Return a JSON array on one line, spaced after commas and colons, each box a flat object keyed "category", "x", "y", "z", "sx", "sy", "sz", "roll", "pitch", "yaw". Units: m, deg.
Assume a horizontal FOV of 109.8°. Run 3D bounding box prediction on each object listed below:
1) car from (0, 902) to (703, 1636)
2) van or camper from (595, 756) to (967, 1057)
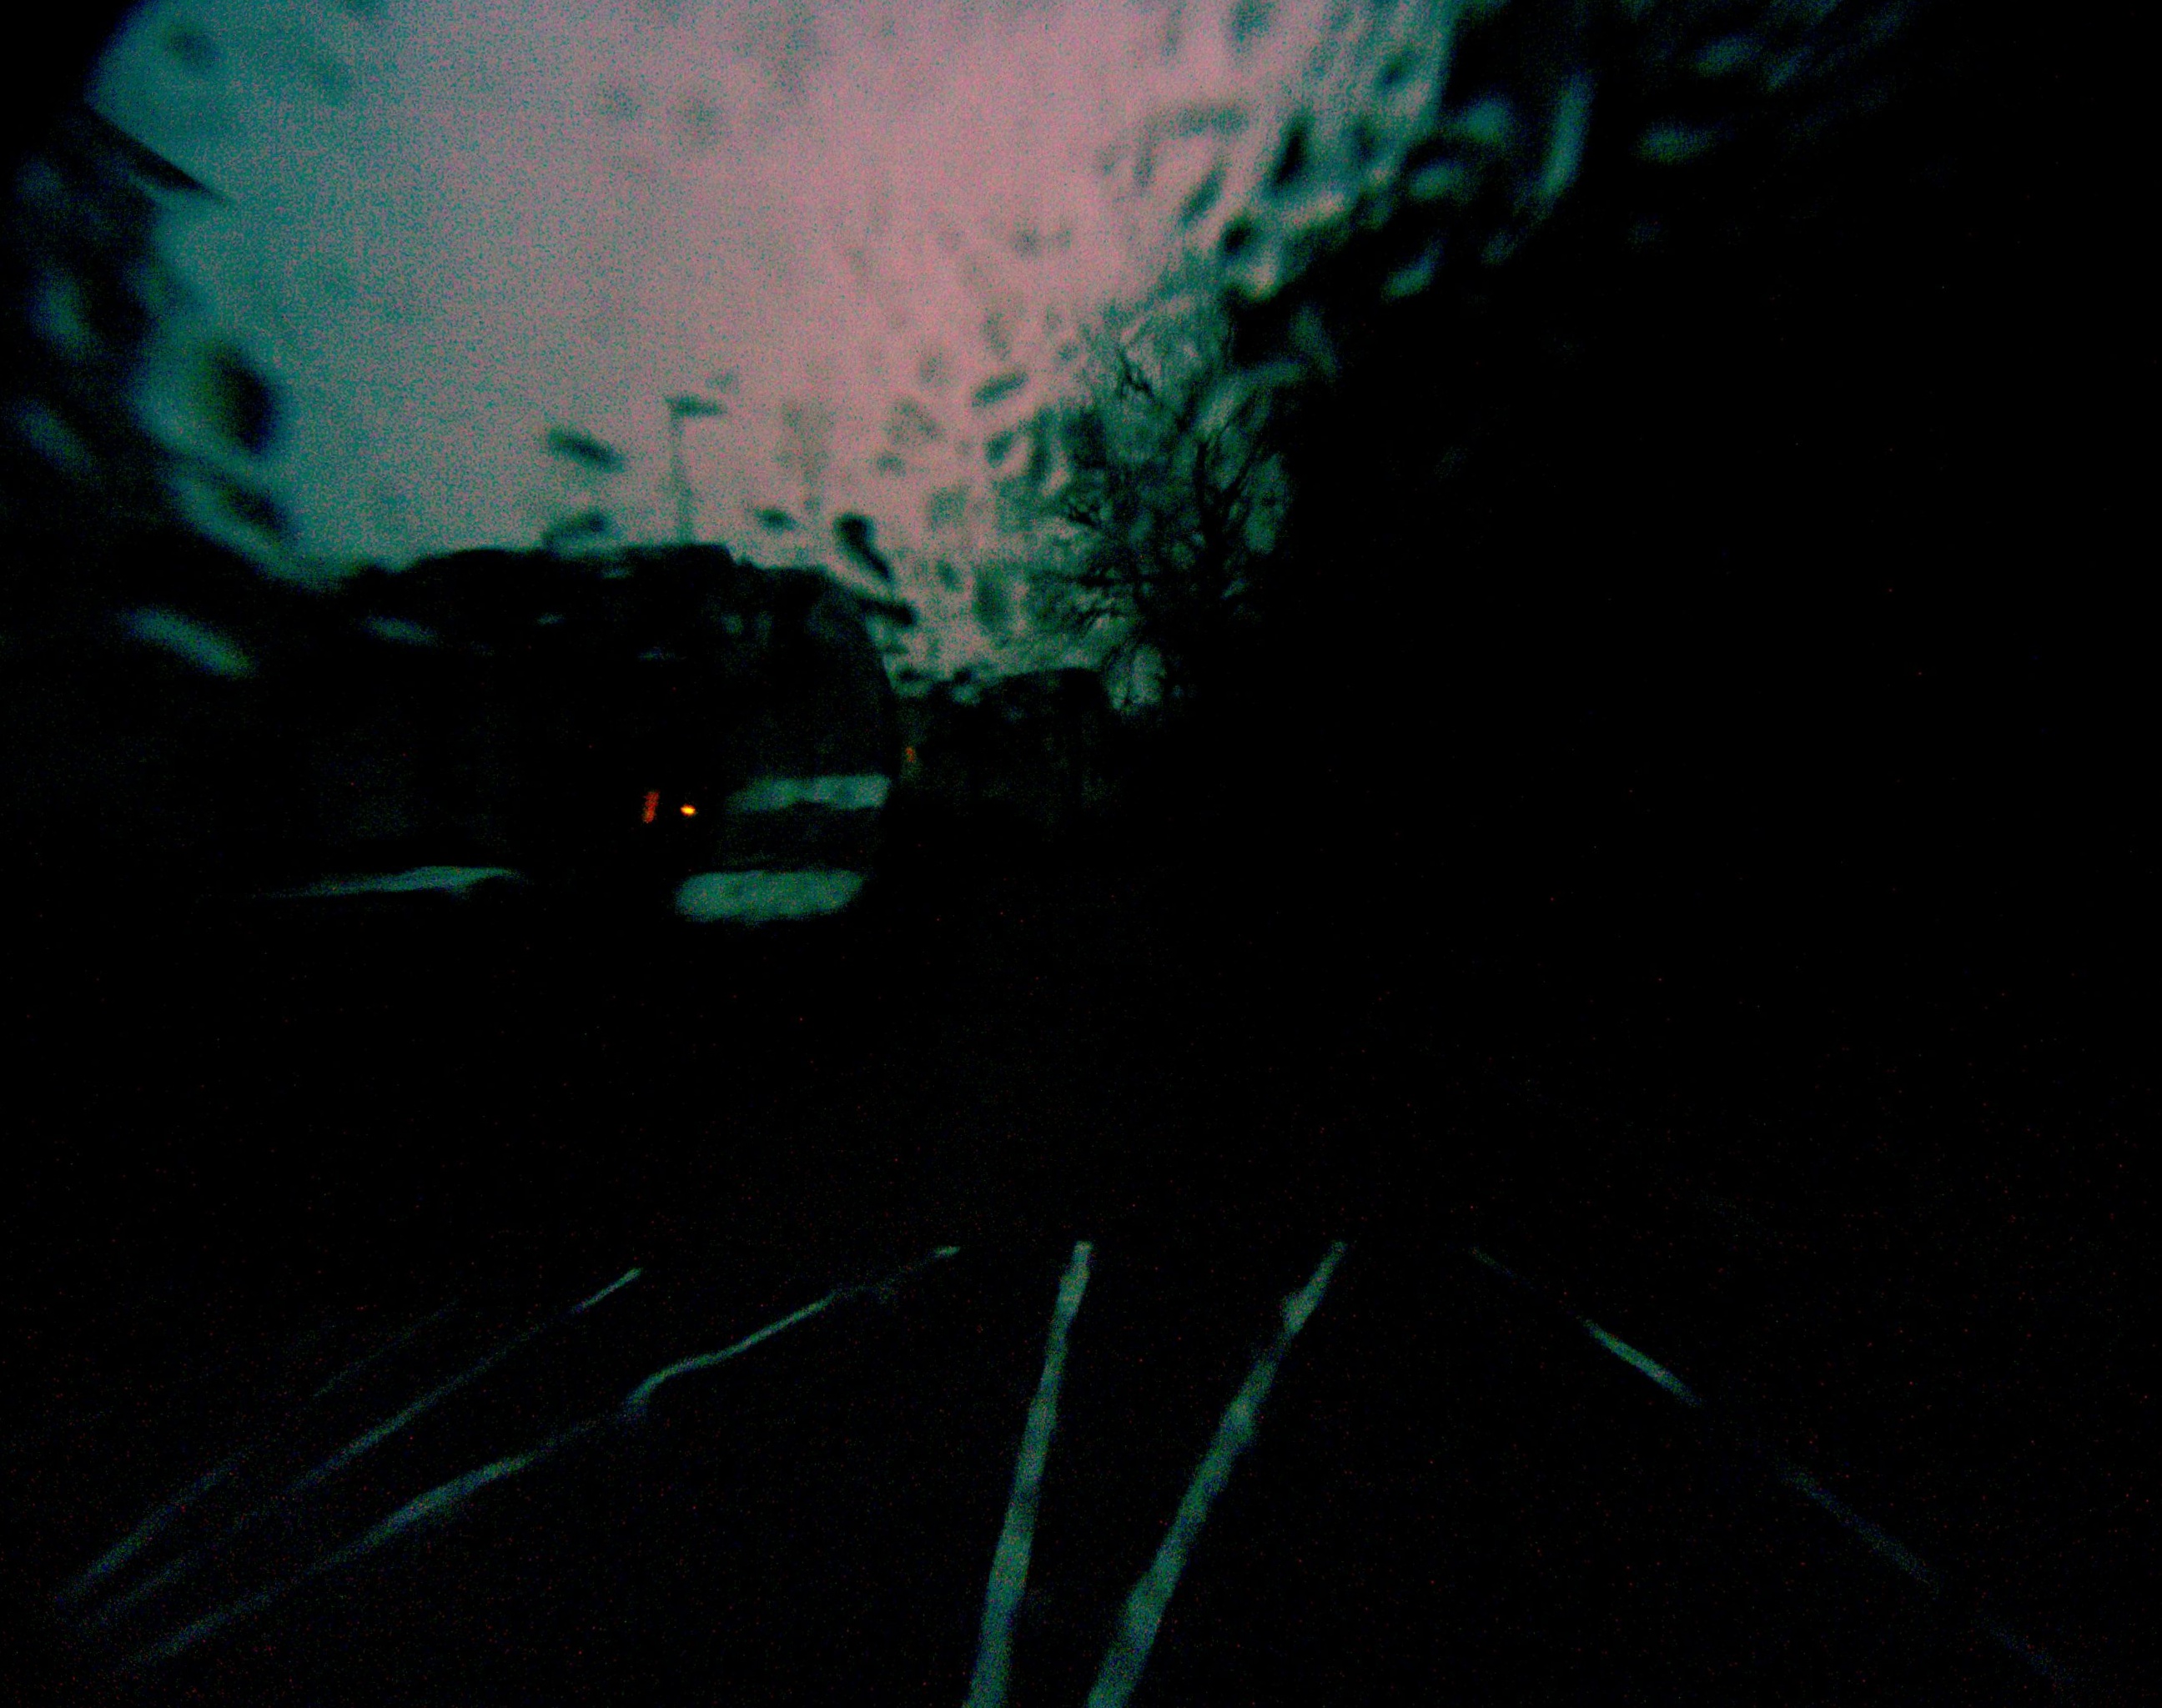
[{"category": "car", "x": -3.243, "y": 1.049, "z": 2.693, "sx": 1.659, "sy": 1.382, "sz": 4.122, "roll": -1, "pitch": 1, "yaw": 1}, {"category": "van or camper", "x": -3.017, "y": 0.397, "z": 9.761, "sx": 2.019, "sy": 2.493, "sz": 6.791, "roll": -1, "pitch": 1, "yaw": 0}]
